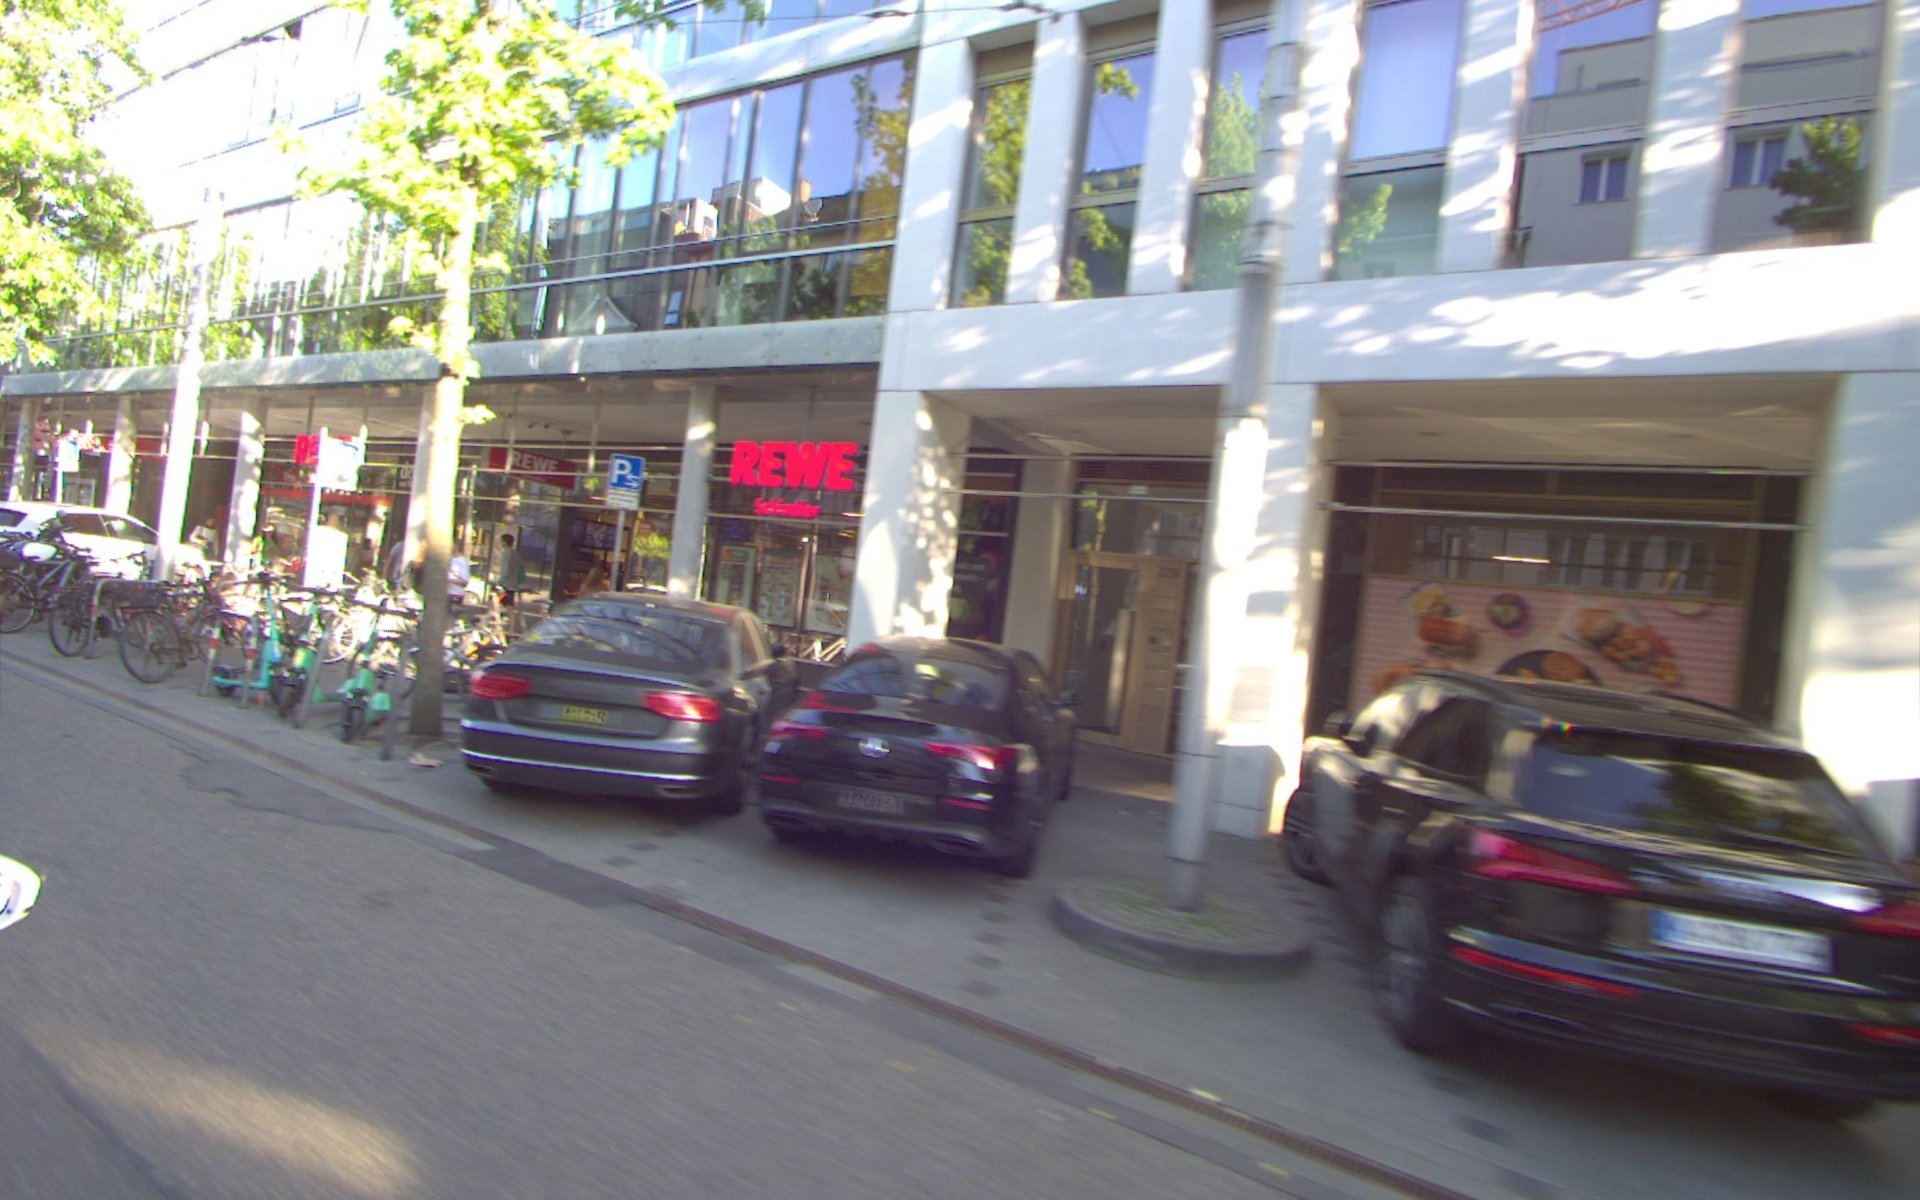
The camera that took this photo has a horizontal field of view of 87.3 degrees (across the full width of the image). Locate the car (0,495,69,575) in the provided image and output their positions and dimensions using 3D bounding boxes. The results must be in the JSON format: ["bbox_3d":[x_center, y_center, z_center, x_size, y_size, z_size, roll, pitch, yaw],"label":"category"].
[{"bbox_3d":[-20.880,-1.463,20.297,1.849,1.607,4.248,6,1,1],"label":"car"}]

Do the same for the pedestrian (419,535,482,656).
[{"bbox_3d":[-7.726,-0.064,15.262,0.550,1.773,0.523,7,2,34],"label":"pedestrian"}]

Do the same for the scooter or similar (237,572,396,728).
[{"bbox_3d":[-5.900,0.414,9.300,0.554,1.293,1.305,5,2,1],"label":"scooter or similar"}]

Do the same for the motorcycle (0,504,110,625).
[{"bbox_3d":[-12.759,-0.506,13.588,0.845,1.529,2.313,5,1,-11],"label":"motorcycle"}]

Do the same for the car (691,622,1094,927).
[{"bbox_3d":[-0.112,1.000,7.916,1.897,1.444,4.668,6,0,11],"label":"car"}]

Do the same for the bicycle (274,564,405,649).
[{"bbox_3d":[-9.152,0.087,14.924,0.620,1.120,1.778,6,1,7],"label":"bicycle"}]

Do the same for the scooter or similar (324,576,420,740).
[{"bbox_3d":[-5.197,0.477,8.940,0.452,1.293,1.300,4,2,-21],"label":"scooter or similar"}]

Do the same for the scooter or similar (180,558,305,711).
[{"bbox_3d":[-6.835,0.306,9.567,1.285,1.293,0.451,7,3,31],"label":"scooter or similar"}]

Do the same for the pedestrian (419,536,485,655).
[{"bbox_3d":[-7.717,-0.069,15.278,0.542,1.716,0.517,7,-1,36],"label":"pedestrian"}]

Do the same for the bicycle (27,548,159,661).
[{"bbox_3d":[-9.956,0.016,11.616,0.474,1.179,1.687,5,2,-18],"label":"bicycle"}]

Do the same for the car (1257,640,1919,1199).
[{"bbox_3d":[3.160,1.251,5.793,1.970,1.676,4.667,7,1,8],"label":"car"}]

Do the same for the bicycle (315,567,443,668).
[{"bbox_3d":[-7.785,0.210,13.540,0.852,1.188,1.269,7,2,1],"label":"bicycle"}]

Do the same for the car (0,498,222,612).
[{"bbox_3d":[-14.598,-0.749,16.498,1.820,1.591,4.157,6,1,-1],"label":"car"}]

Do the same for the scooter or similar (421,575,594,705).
[{"bbox_3d":[-5.237,0.457,11.707,1.650,1.310,0.562,6,2,-5],"label":"scooter or similar"}]

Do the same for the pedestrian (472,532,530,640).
[{"bbox_3d":[-8.540,-0.256,18.731,0.653,1.943,0.583,7,2,34],"label":"pedestrian"}]

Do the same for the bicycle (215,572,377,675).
[{"bbox_3d":[-8.003,0.250,12.215,0.719,1.089,1.673,7,2,2],"label":"bicycle"}]

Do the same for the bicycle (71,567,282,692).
[{"bbox_3d":[-8.079,0.271,10.477,0.853,1.103,1.562,7,2,2],"label":"bicycle"}]

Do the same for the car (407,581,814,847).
[{"bbox_3d":[-2.543,0.675,8.805,1.941,1.488,5.055,6,1,-3],"label":"car"}]

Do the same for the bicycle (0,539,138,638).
[{"bbox_3d":[-11.541,-0.154,12.682,0.655,1.134,1.896,5,1,3],"label":"bicycle"}]

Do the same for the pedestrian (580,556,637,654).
[{"bbox_3d":[-6.625,0.103,18.960,0.616,1.765,0.598,7,1,31],"label":"pedestrian"}]

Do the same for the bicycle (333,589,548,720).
[{"bbox_3d":[-5.302,0.544,10.328,1.816,1.122,0.551,6,2,-4],"label":"bicycle"}]

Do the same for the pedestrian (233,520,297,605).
[{"bbox_3d":[-14.536,-0.783,21.036,0.868,1.644,0.714,7,1,33],"label":"pedestrian"}]

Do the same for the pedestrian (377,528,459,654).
[{"bbox_3d":[-7.848,-0.114,14.576,0.540,1.716,0.681,7,-1,20],"label":"pedestrian"}]

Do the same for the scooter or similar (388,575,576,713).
[{"bbox_3d":[-5.234,0.469,11.084,1.650,1.310,0.631,6,2,-5],"label":"scooter or similar"}]

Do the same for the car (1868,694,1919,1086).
[{"bbox_3d":[5.345,1.455,2.478,1.957,1.786,4.665,6,1,3],"label":"car"}]

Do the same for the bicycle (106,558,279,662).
[{"bbox_3d":[-9.258,0.107,12.222,0.620,1.120,1.694,6,1,6],"label":"bicycle"}]

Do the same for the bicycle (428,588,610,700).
[{"bbox_3d":[-5.384,0.533,12.349,1.855,1.145,0.626,6,2,-5],"label":"bicycle"}]

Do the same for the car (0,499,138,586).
[{"bbox_3d":[-18.392,-1.165,19.133,1.656,1.518,4.160,6,1,9],"label":"car"}]

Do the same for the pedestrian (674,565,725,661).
[{"bbox_3d":[-4.999,0.249,19.303,0.594,1.765,0.620,6,1,-34],"label":"pedestrian"}]

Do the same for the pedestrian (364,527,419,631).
[{"bbox_3d":[-10.169,-0.368,18.001,0.516,1.773,0.557,7,2,32],"label":"pedestrian"}]
